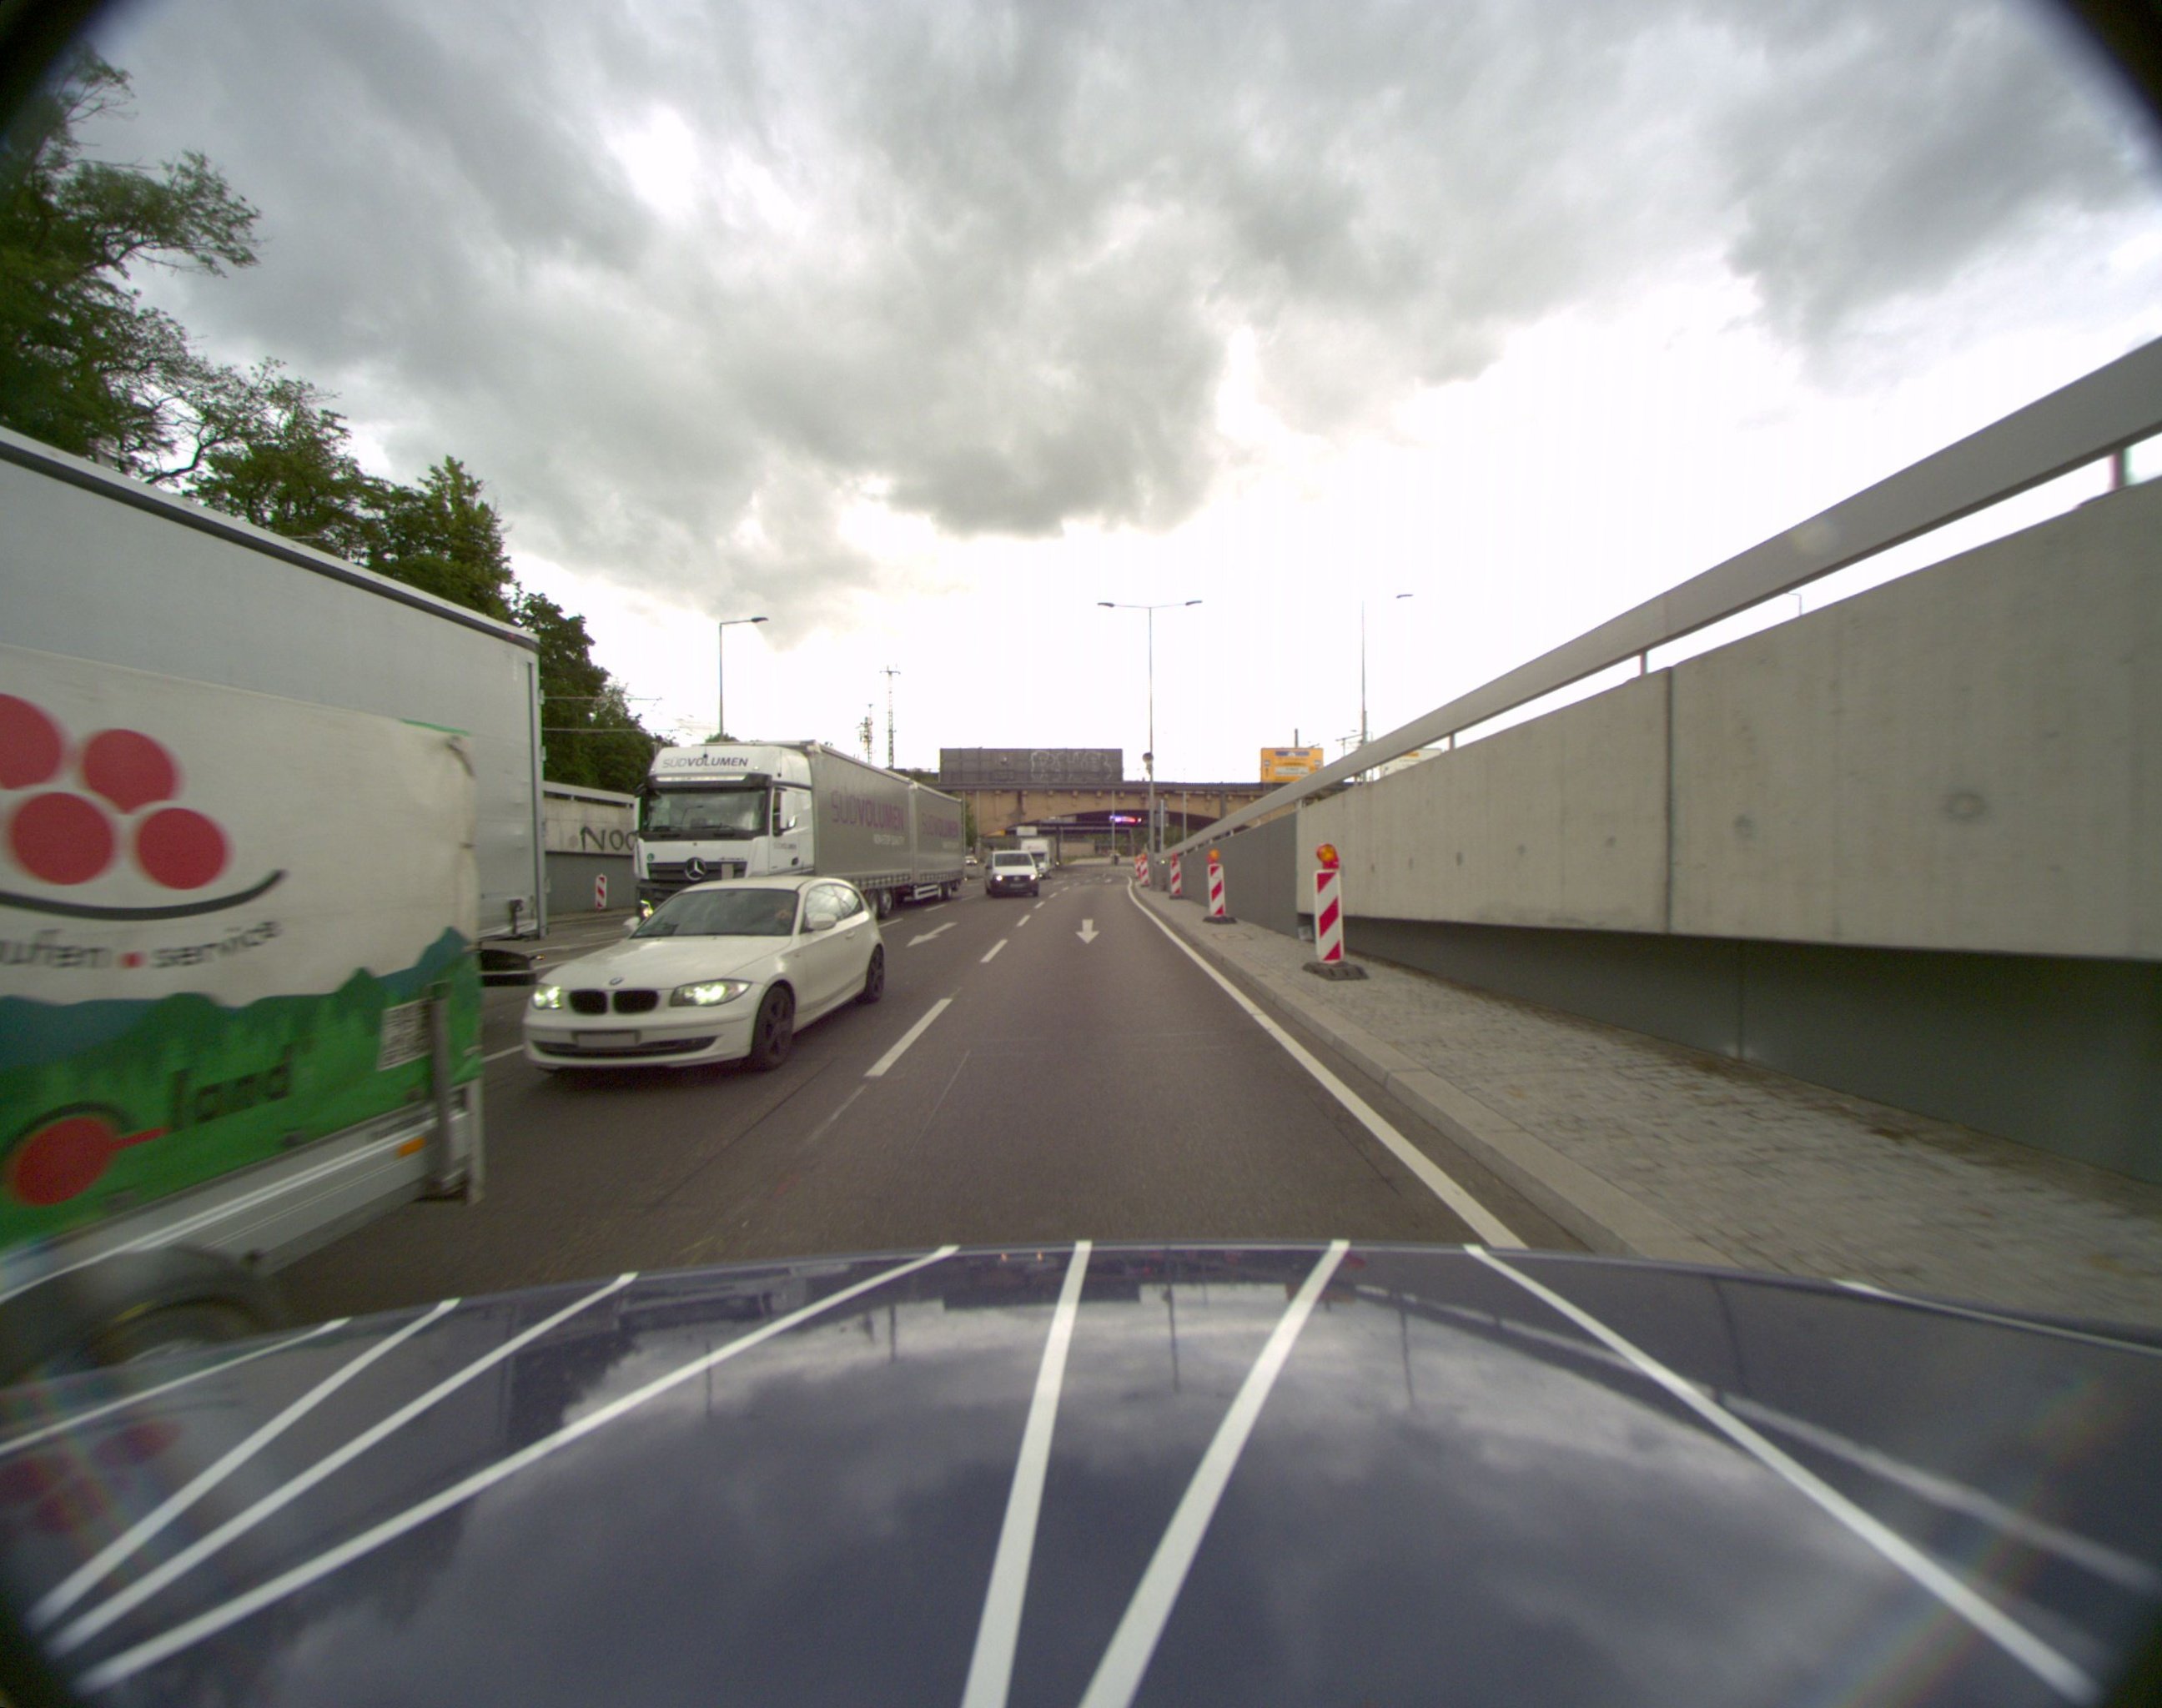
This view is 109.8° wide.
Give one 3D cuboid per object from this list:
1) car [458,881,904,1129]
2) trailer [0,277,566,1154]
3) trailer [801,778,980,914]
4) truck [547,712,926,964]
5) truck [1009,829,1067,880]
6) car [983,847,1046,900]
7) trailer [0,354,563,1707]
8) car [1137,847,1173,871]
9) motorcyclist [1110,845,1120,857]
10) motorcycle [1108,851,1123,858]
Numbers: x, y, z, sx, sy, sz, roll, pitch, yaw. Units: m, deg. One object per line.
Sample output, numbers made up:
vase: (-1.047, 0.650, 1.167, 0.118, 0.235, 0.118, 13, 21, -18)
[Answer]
car: (-3.095, 1.058, 7.081, 1.720, 1.390, 4.347, -2, 0, 2)
trailer: (-7.560, -0.669, 2.039, 3.814, 4.604, 12.112, -2, 0, 0)
trailer: (-6.687, -0.285, 29.304, 3.733, 4.118, 10.983, -2, 1, 1)
truck: (-6.955, -0.303, 18.361, 3.733, 4.118, 10.983, -2, 1, 1)
truck: (-3.251, -0.056, 60.447, 3.031, 3.567, 8.951, -4, 1, 5)
car: (-2.893, 0.741, 32.031, 2.000, 1.978, 5.194, -3, 1, -11)
trailer: (-3.131, 0.388, 0.509, 2.108, 2.624, 4.809, -2, 1, 1)
car: (5.911, 0.357, 60.984, 1.869, 1.827, 4.202, -2, 0, -8)
motorcyclist: (4.740, -0.460, 105.823, 0.668, 1.596, 1.100, -3, 0, -36)
motorcycle: (4.772, 0.057, 105.824, 0.668, 0.911, 2.388, -2, -1, -39)
